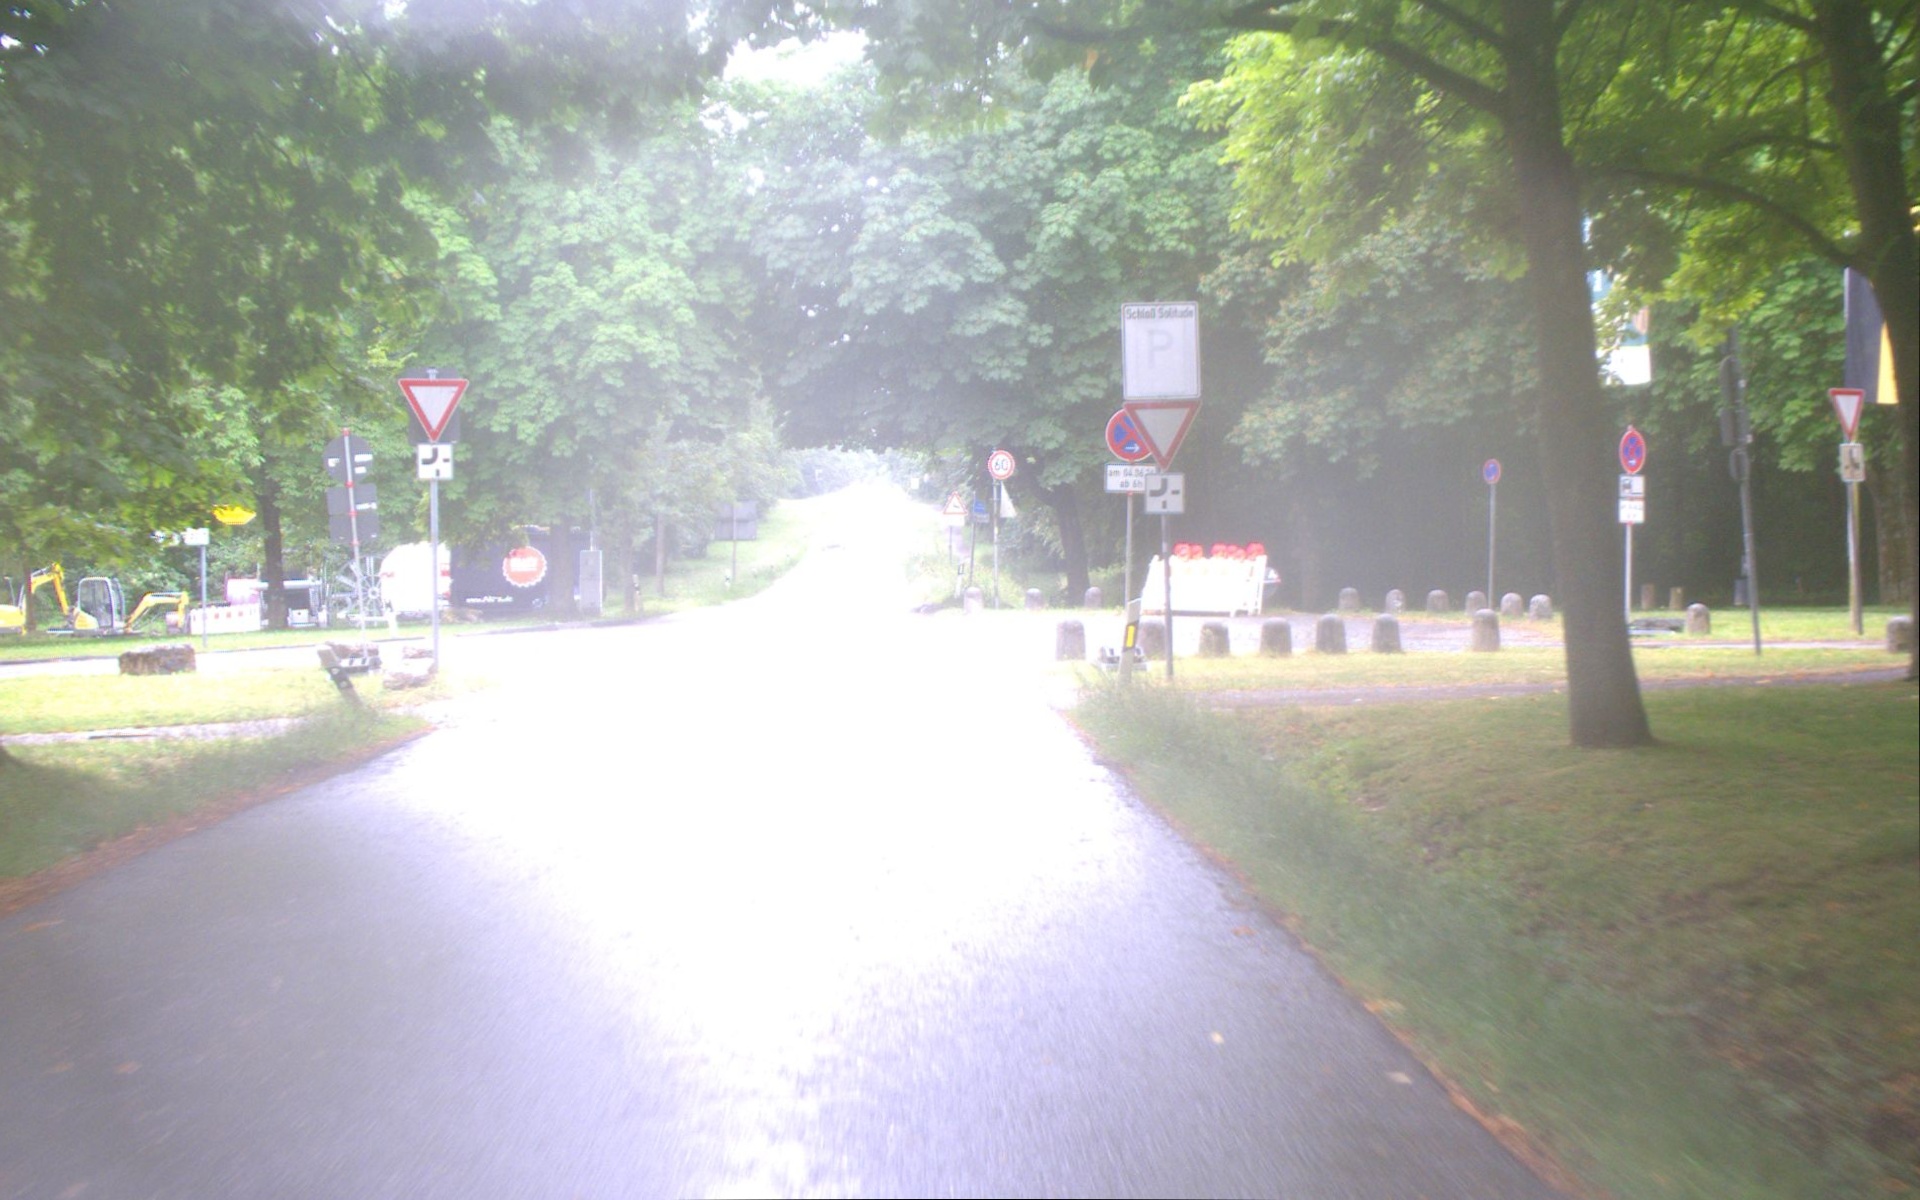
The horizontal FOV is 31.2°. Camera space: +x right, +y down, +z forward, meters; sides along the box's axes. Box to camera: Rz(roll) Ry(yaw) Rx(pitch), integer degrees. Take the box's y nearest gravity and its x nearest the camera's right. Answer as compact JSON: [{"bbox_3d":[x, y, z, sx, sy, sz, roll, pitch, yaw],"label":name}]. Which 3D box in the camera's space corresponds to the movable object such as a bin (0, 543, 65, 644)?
[{"bbox_3d":[-32.647,-0.184,115.633,4.653,3.283,3.914,-2,1,-12],"label":"movable object such as a bin"}]

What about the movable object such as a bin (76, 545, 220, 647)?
[{"bbox_3d":[-27.667,-0.150,117.346,4.580,3.283,3.667,-2,1,-12],"label":"movable object such as a bin"}]
